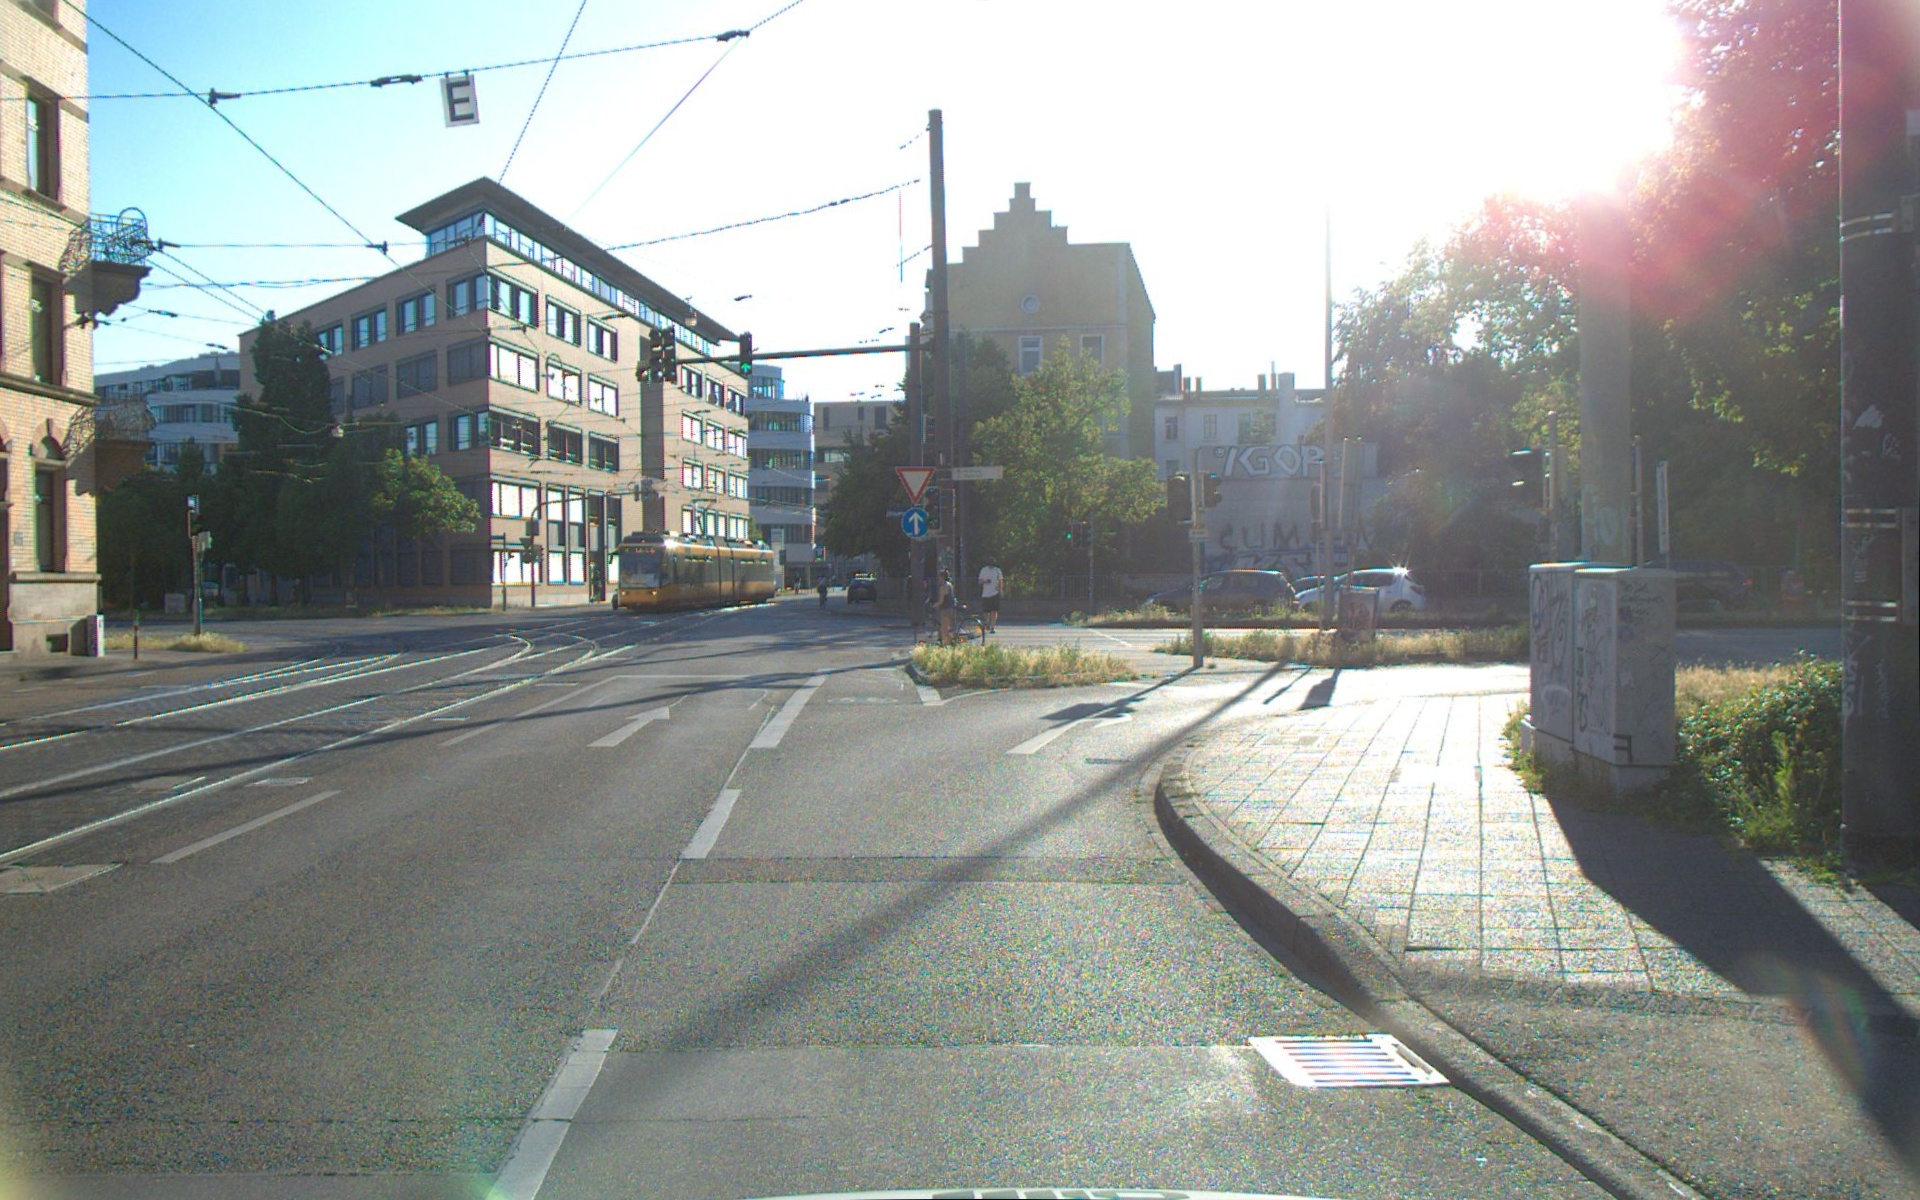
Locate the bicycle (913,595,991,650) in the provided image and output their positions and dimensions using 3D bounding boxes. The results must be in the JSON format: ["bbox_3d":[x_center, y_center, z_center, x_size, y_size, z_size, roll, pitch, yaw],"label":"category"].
[{"bbox_3d":[-0.170,0.442,32.355,1.640,1.047,0.397,0,1,40],"label":"bicycle"}]

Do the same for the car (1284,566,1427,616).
[{"bbox_3d":[11.202,-0.267,46.806,3.800,1.342,1.725,-1,1,18],"label":"car"}]

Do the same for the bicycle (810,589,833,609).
[{"bbox_3d":[-6.622,-0.061,79.058,0.680,0.892,2.028,-1,1,8],"label":"bicycle"}]

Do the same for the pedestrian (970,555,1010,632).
[{"bbox_3d":[0.741,-0.161,40.285,0.889,1.820,0.828,-1,1,5],"label":"pedestrian"}]

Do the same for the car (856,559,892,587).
[{"bbox_3d":[-5.824,-1.816,112.306,1.952,1.847,4.002,1,0,4],"label":"car"}]

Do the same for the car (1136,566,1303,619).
[{"bbox_3d":[6.982,-0.202,44.428,4.148,1.319,1.724,-1,1,22],"label":"car"}]

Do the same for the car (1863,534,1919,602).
[{"bbox_3d":[27.160,-0.856,45.509,3.907,1.825,1.748,1,0,24],"label":"car"}]

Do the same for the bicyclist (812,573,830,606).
[{"bbox_3d":[-6.634,-0.503,79.061,0.659,1.548,0.814,-1,1,8],"label":"bicyclist"}]

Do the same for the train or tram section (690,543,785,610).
[{"bbox_3d":[-12.524,-1.351,94.311,2.800,3.569,11.306,-1,1,6],"label":"train or tram section"}]

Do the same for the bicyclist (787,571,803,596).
[{"bbox_3d":[-13.678,-1.360,137.251,1.008,2.049,1.248,1,0,8],"label":"bicyclist"}]

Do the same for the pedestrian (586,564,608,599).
[{"bbox_3d":[-21.637,-1.096,98.535,0.987,2.049,0.872,-1,0,7],"label":"pedestrian"}]

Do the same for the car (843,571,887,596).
[{"bbox_3d":[-5.493,-0.972,96.070,1.747,1.412,4.004,-1,1,8],"label":"car"}]

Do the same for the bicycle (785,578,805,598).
[{"bbox_3d":[-13.681,-0.992,137.237,1.008,1.680,2.563,-1,1,8],"label":"bicycle"}]

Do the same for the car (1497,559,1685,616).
[{"bbox_3d":[15.595,-0.301,41.019,4.272,1.319,1.725,-1,1,21],"label":"car"}]

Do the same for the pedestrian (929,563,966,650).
[{"bbox_3d":[-0.245,0.122,32.274,0.515,1.660,0.487,-1,1,39],"label":"pedestrian"}]

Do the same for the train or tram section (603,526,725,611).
[{"bbox_3d":[-13.517,-1.442,76.767,2.801,3.569,13.020,-1,1,2],"label":"train or tram section"}]

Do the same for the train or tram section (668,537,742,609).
[{"bbox_3d":[-13.191,-1.398,85.923,2.801,3.569,5.305,-1,1,2],"label":"train or tram section"}]
